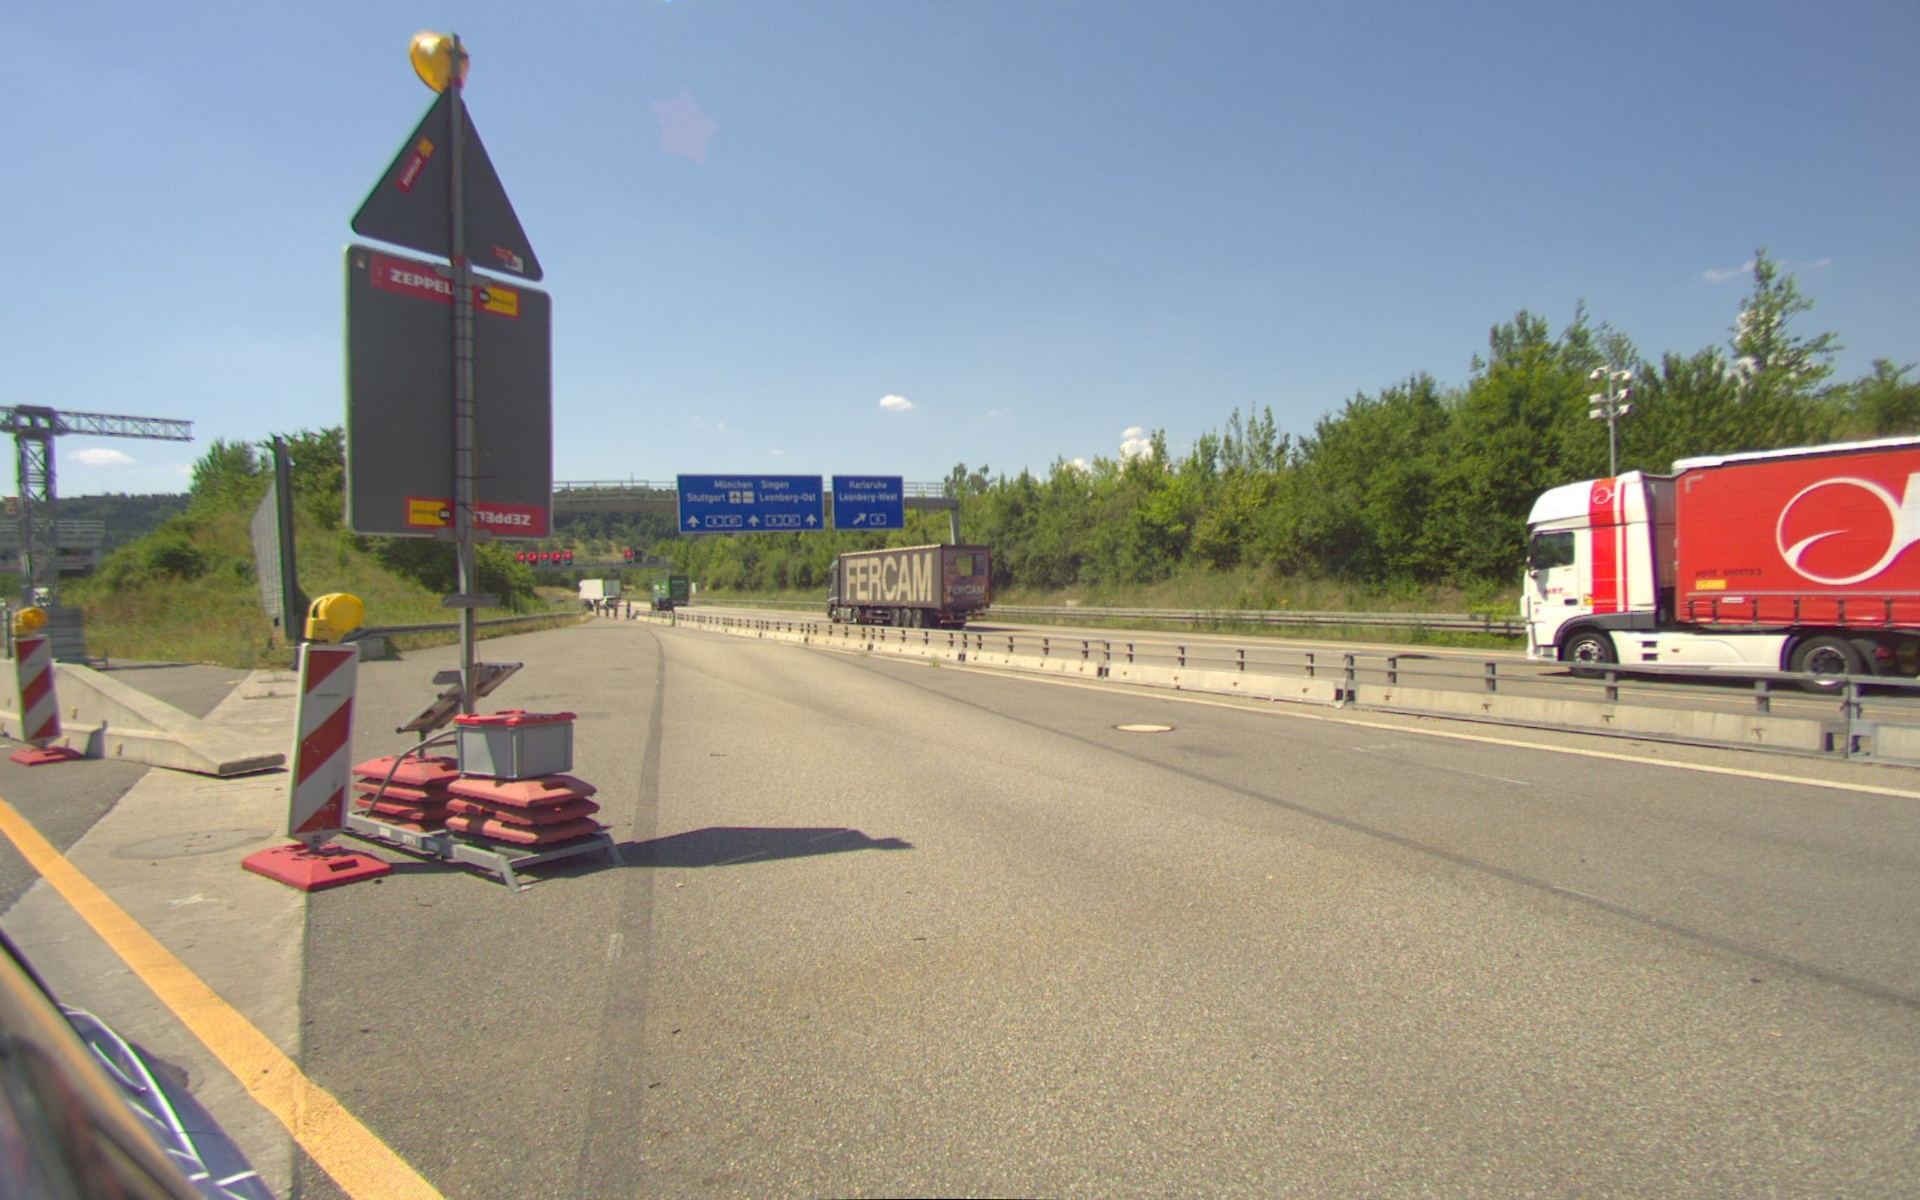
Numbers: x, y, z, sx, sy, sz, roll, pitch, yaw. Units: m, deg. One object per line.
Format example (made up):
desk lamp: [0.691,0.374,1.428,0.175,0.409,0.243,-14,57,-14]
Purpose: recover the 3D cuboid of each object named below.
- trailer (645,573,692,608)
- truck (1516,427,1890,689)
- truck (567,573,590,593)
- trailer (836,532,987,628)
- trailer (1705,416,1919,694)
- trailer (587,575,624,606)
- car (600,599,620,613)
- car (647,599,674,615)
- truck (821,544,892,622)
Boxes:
trailer: [-39.707,-1.305,137.462,3.496,4.301,13.955,-4,2,-26]
truck: [13.478,-0.709,18.753,2.302,4.138,5.033,-2,1,-30]
truck: [-89.715,-3.949,237.710,3.496,4.301,13.955,-4,2,-26]
trailer: [-2.933,-0.952,52.197,2.401,4.328,13.855,-2,1,-26]
trailer: [17.134,-0.687,12.231,2.305,4.133,13.303,-2,1,-29]
trailer: [-53.553,-1.460,152.481,3.496,4.301,13.955,-4,2,-26]
car: [-45.370,0.768,131.183,1.692,1.636,4.183,-3,2,-29]
car: [-29.925,0.688,101.057,1.692,1.502,3.699,-2,1,-30]
truck: [-6.066,-0.969,58.663,2.397,4.302,4.854,-2,1,-26]
